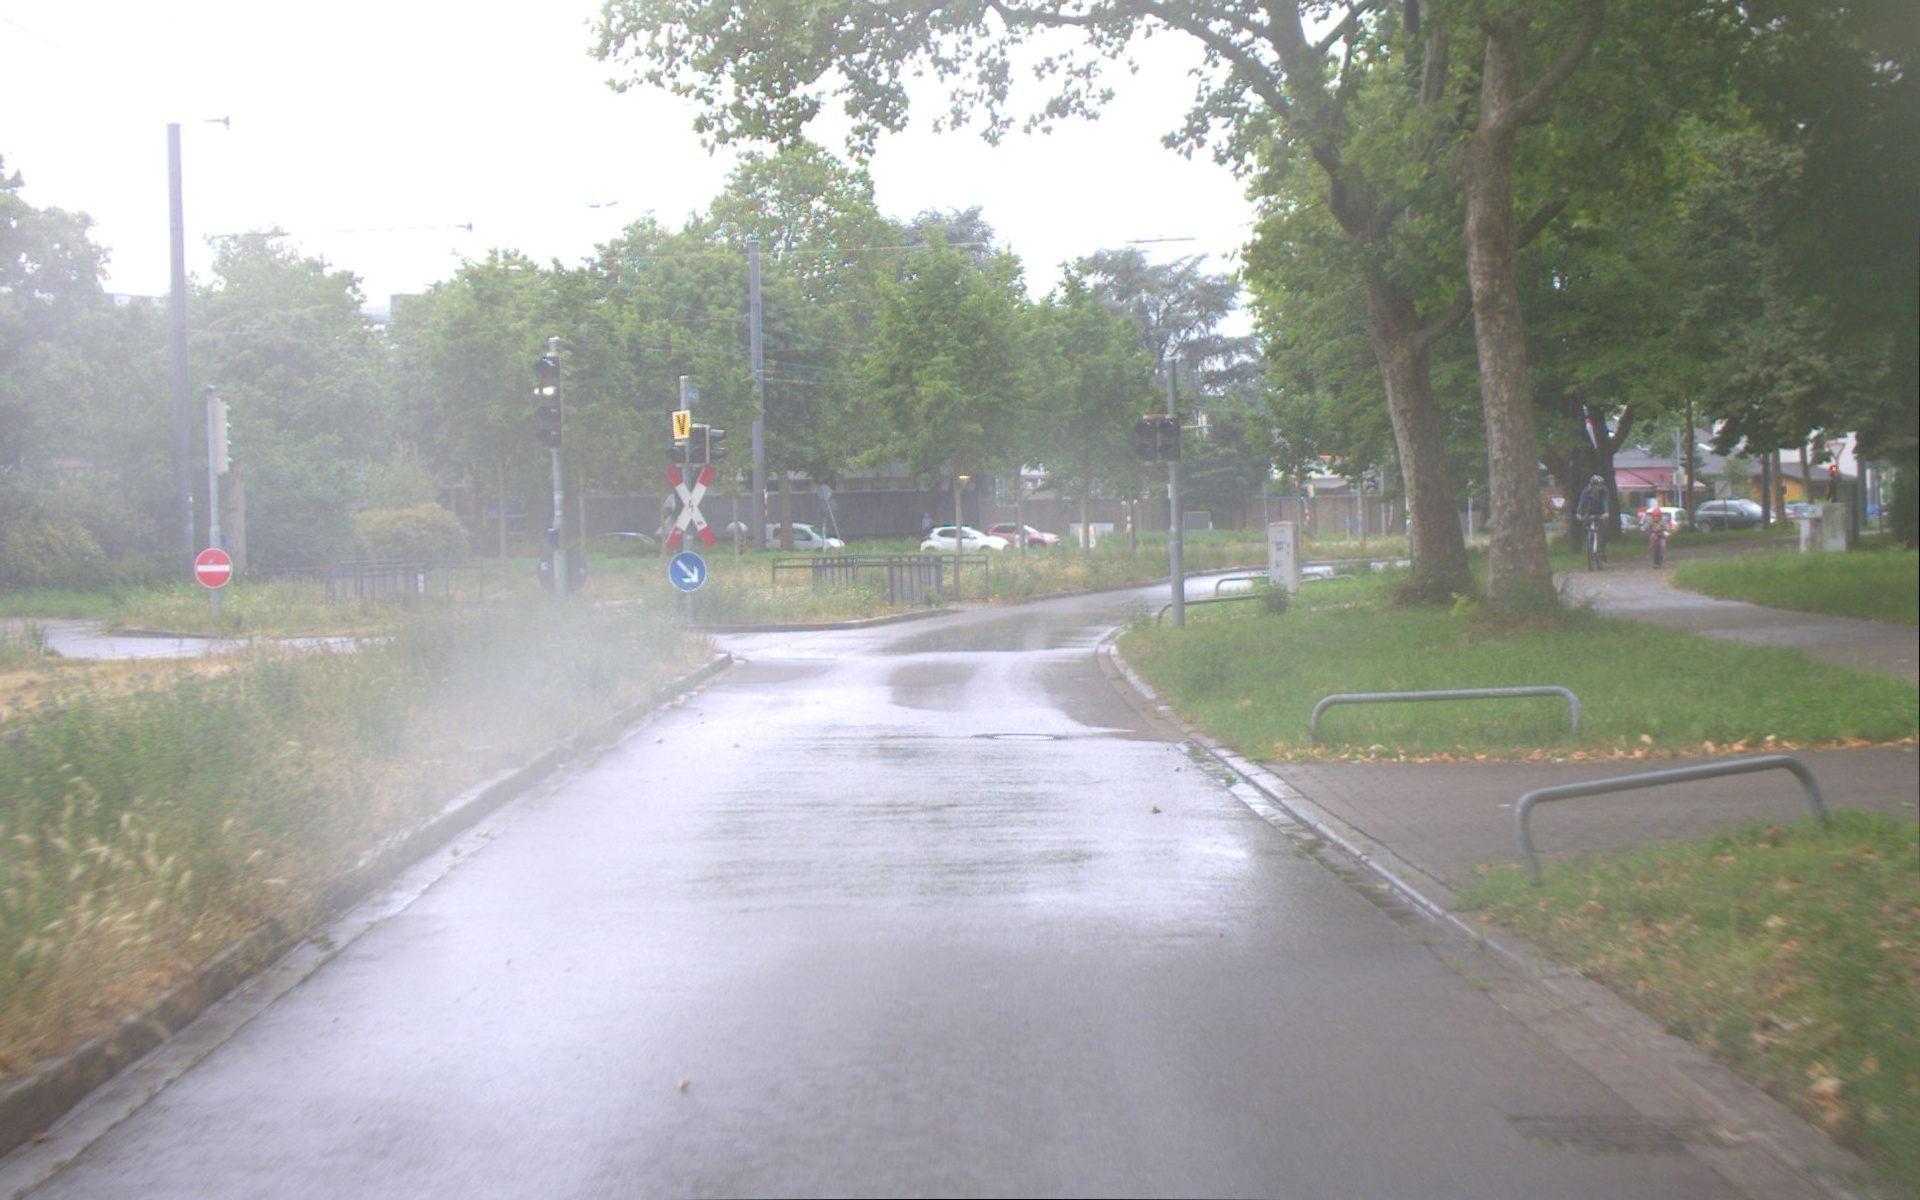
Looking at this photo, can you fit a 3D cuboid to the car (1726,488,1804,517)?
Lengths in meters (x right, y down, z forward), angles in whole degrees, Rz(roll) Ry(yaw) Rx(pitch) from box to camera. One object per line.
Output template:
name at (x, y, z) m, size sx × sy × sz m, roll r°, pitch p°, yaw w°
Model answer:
car at (43.792, -5.315, 187.124) m, size 3.756 × 1.437 × 1.759 m, roll -1°, pitch 1°, yaw 31°

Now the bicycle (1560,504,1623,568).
bicycle at (11.796, -1.201, 64.189) m, size 0.712 × 1.138 × 1.970 m, roll 0°, pitch 3°, yaw 24°

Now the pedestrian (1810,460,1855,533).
pedestrian at (20.507, -2.422, 80.803) m, size 0.852 × 1.689 × 1.035 m, roll -1°, pitch 1°, yaw 6°

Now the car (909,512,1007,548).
car at (-0.079, -3.142, 154.861) m, size 4.068 × 1.494 × 1.651 m, roll -1°, pitch 1°, yaw 16°

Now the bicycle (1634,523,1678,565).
bicycle at (12.894, -1.037, 63.687) m, size 0.487 × 0.706 × 1.456 m, roll -1°, pitch 3°, yaw 23°

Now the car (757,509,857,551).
car at (-7.006, -3.188, 157.146) m, size 4.213 × 1.790 × 1.651 m, roll -1°, pitch 3°, yaw 19°

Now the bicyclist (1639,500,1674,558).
bicyclist at (12.891, -1.320, 63.637) m, size 0.487 × 1.034 × 0.591 m, roll -1°, pitch 3°, yaw 23°

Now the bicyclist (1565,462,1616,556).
bicyclist at (11.781, -1.703, 64.180) m, size 0.712 × 1.715 × 0.956 m, roll 0°, pitch 3°, yaw 24°
